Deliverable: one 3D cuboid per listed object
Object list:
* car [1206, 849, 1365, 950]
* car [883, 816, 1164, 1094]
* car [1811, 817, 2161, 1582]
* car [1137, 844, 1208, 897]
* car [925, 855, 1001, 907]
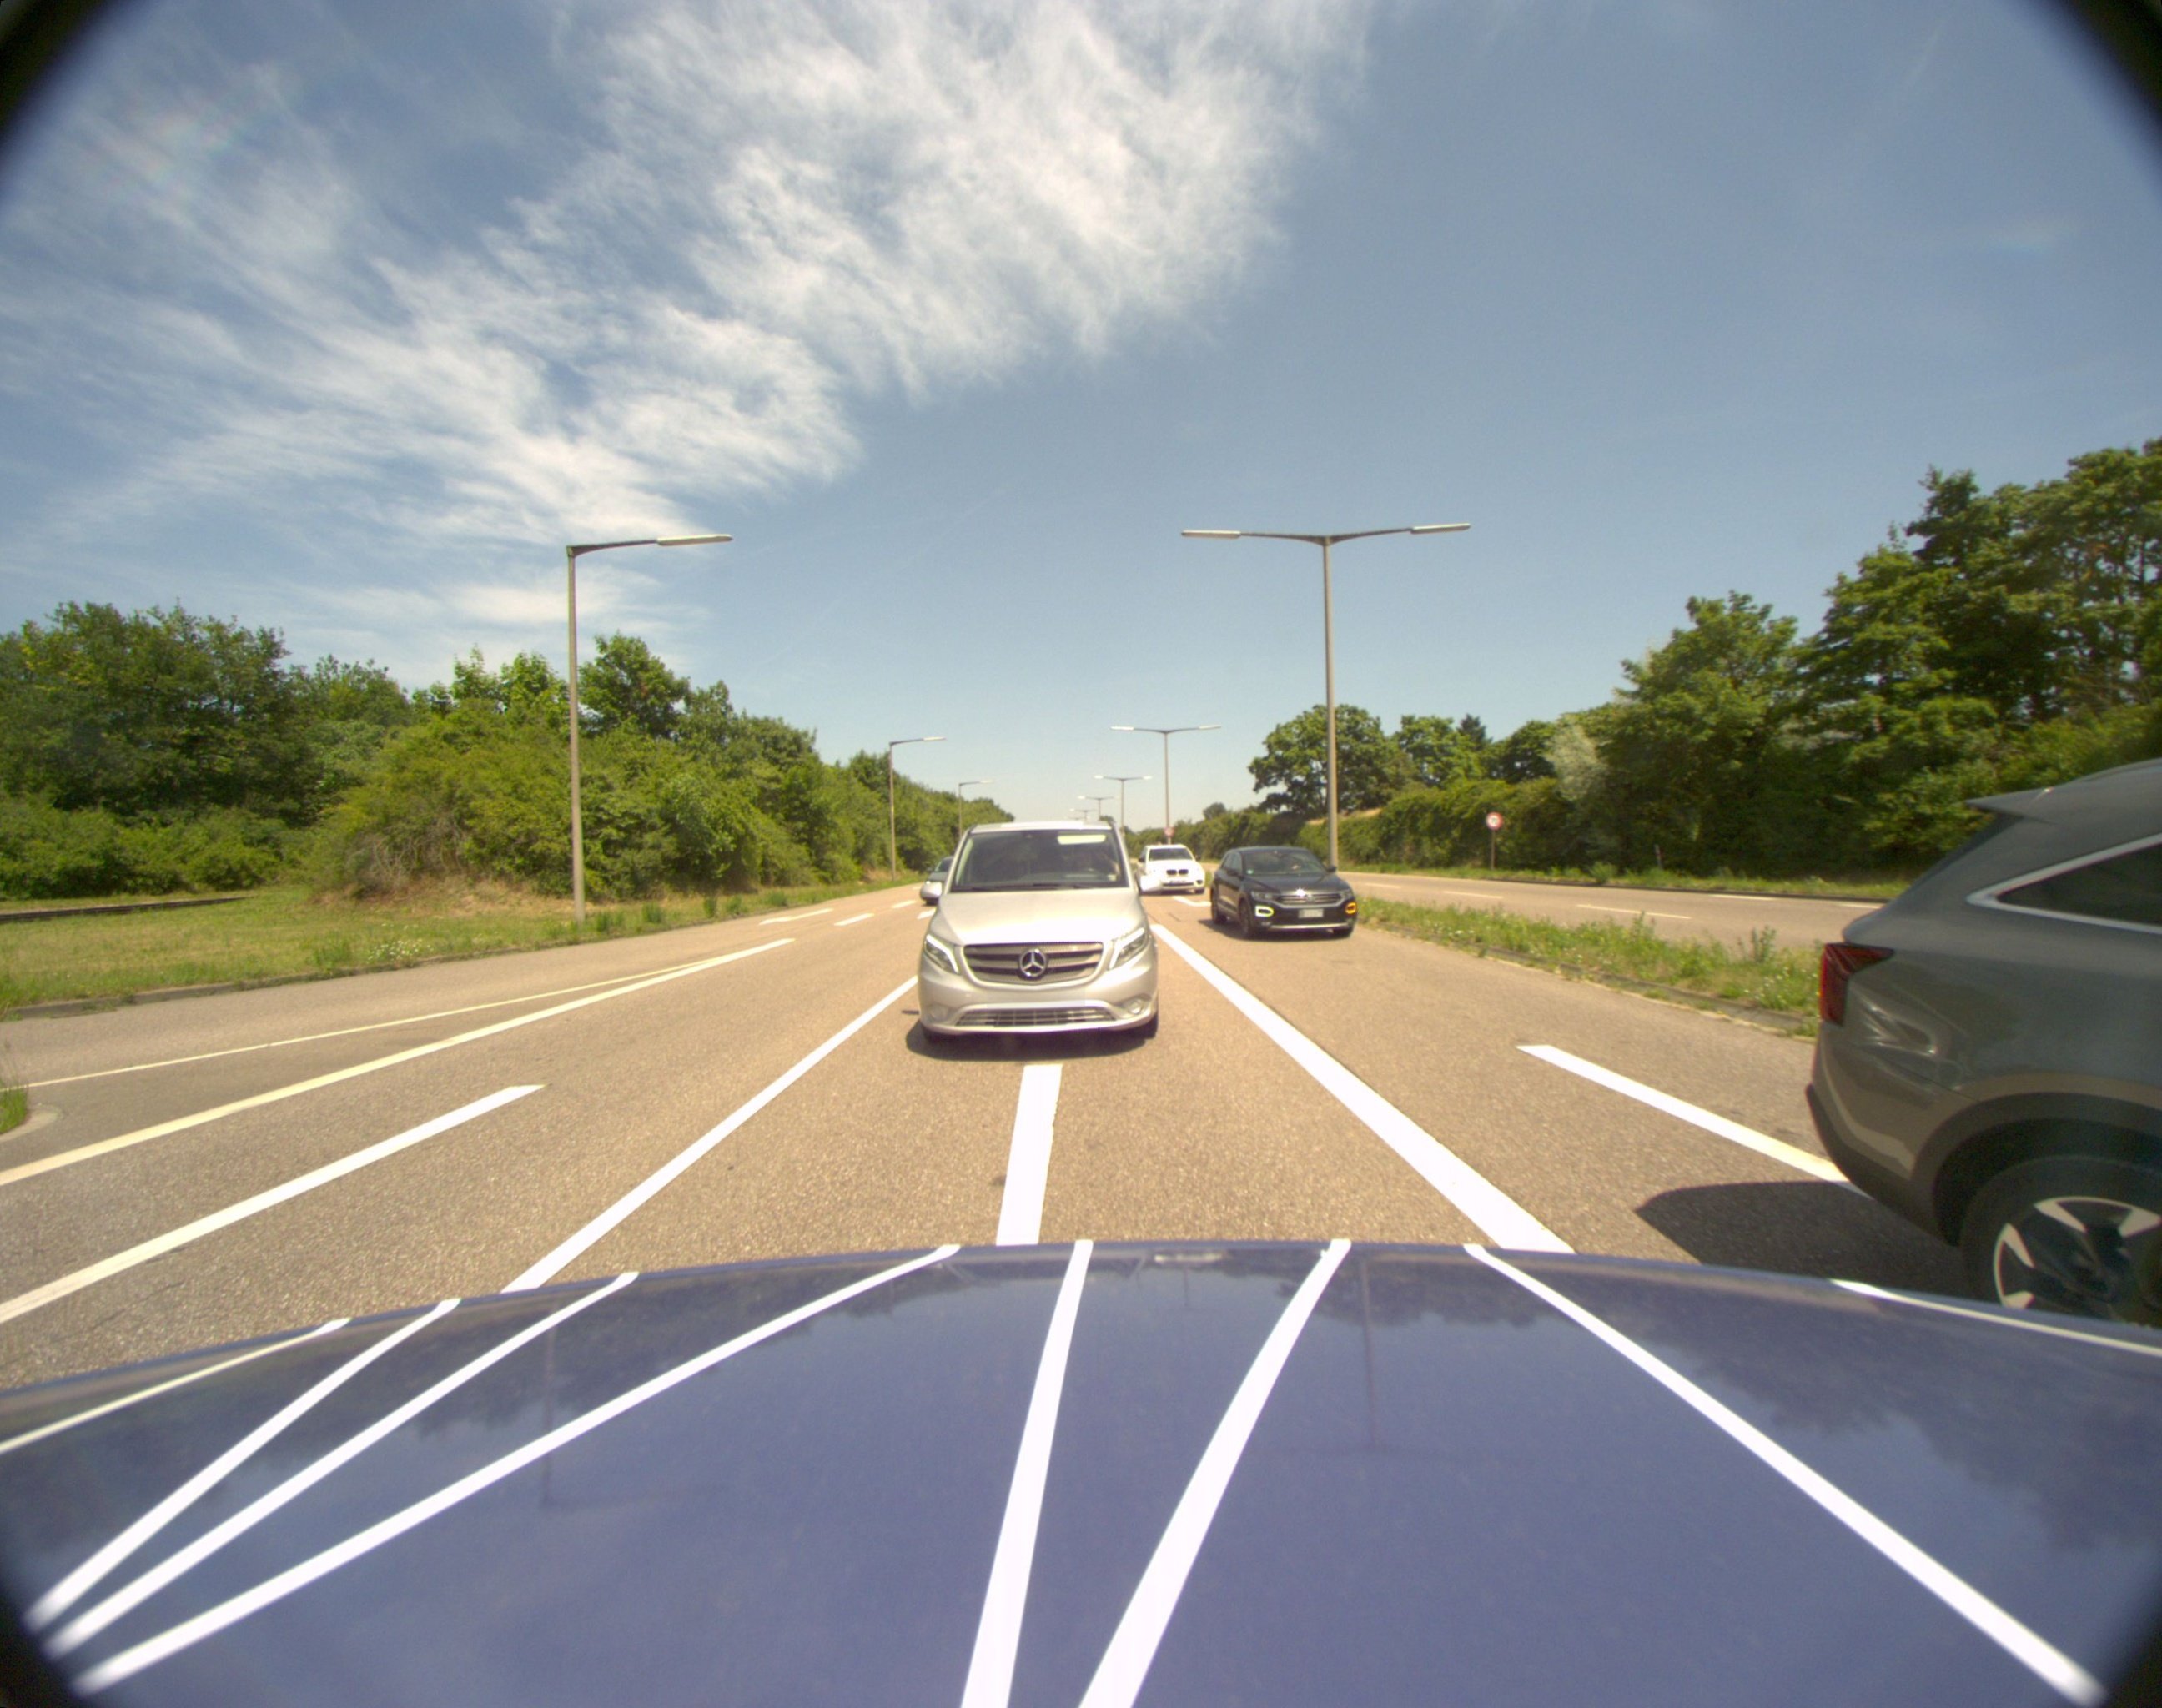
[{"bbox_3d":[3.490,0.691,13.761,1.753,1.491,3.999,-2,0,0],"label":"car"},{"bbox_3d":[-0.334,0.675,8.042,1.876,1.866,5.732,-1,0,1],"label":"car"},{"bbox_3d":[3.227,0.741,0.159,1.785,1.658,4.530,-1,0,0],"label":"car"},{"bbox_3d":[3.097,0.517,26.574,1.921,1.661,4.001,-1,1,-1],"label":"car"},{"bbox_3d":[-3.838,0.836,25.371,1.722,1.587,4.000,-1,0,2],"label":"car"}]
